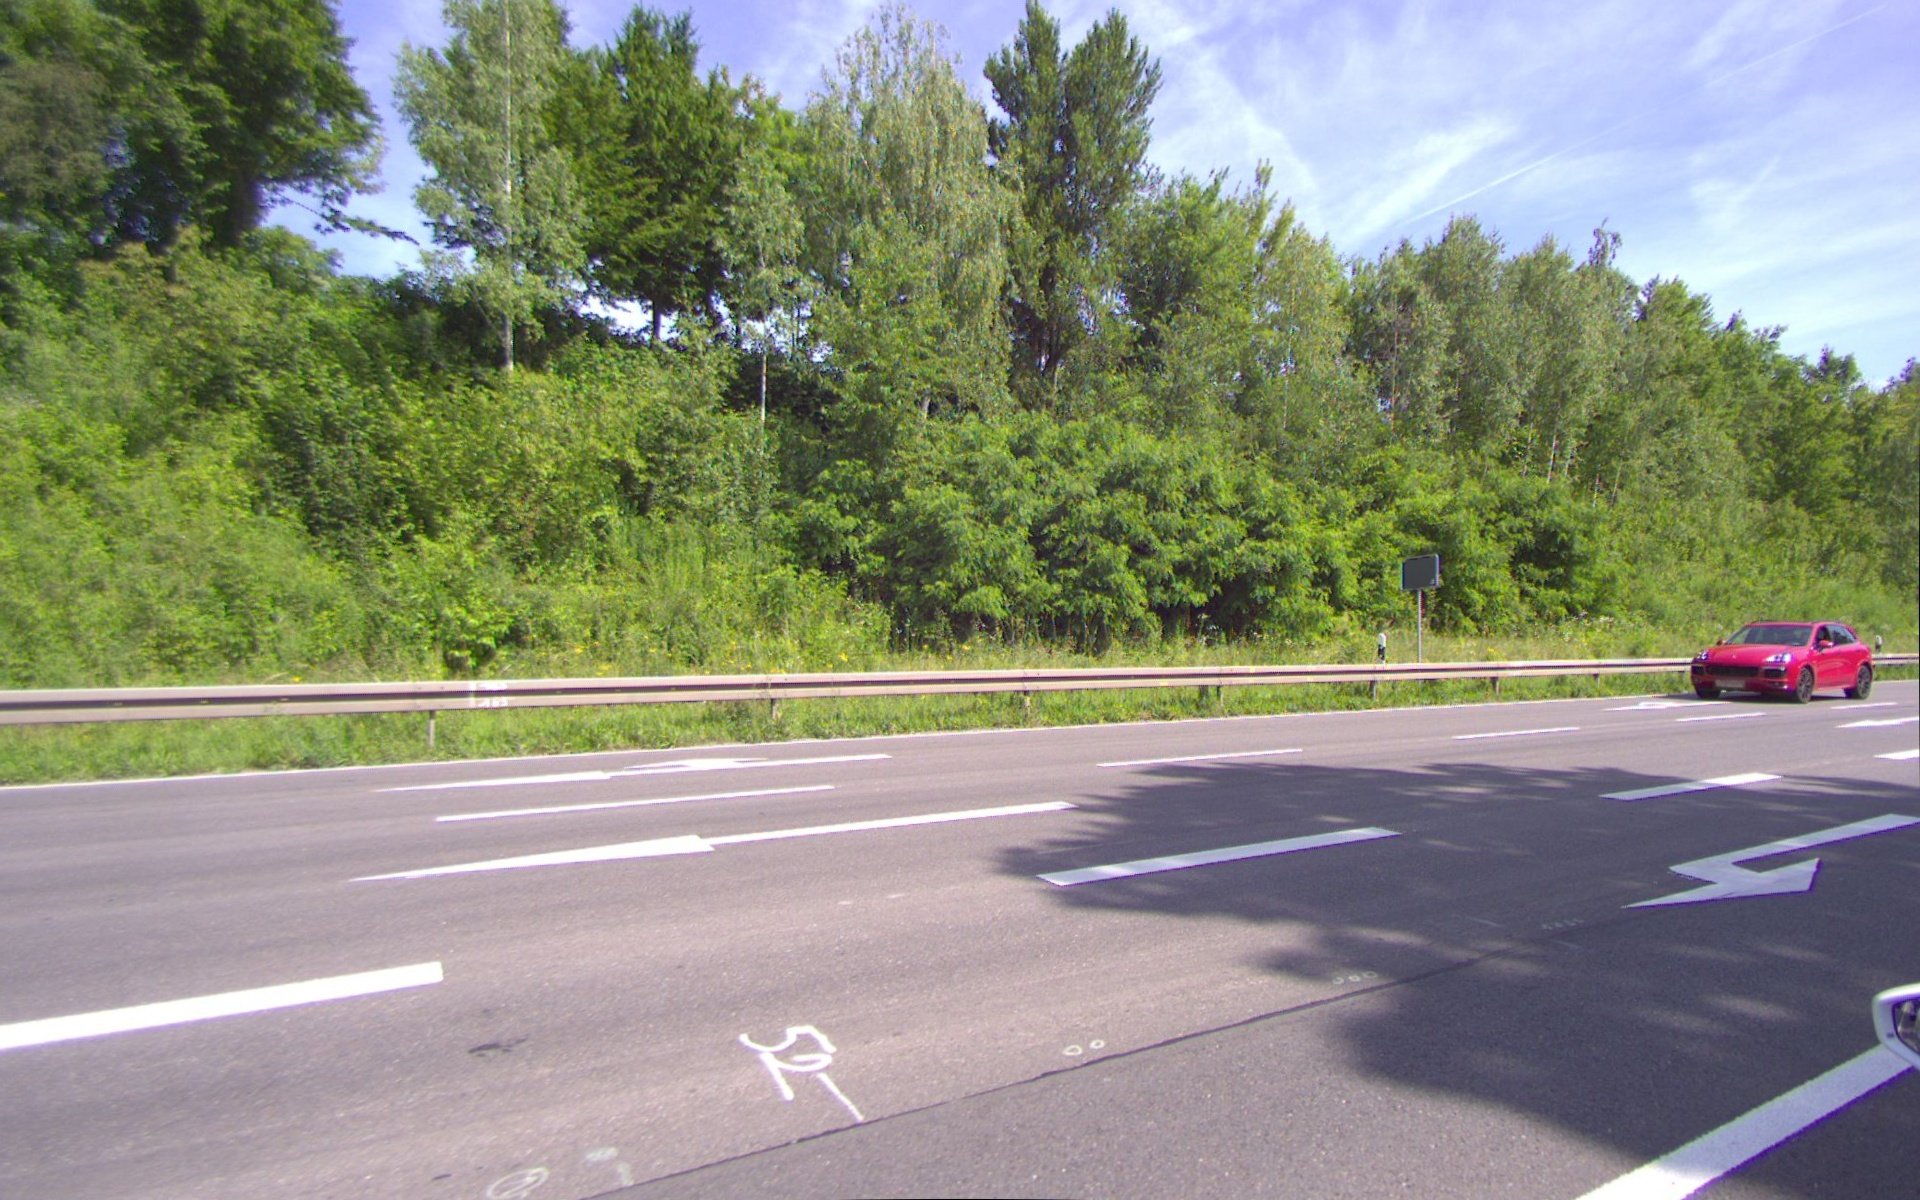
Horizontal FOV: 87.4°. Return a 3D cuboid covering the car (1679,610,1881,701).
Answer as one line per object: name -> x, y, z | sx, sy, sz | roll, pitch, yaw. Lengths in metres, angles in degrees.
car -> 18.237, 1.199, 22.299 | 4.752, 1.820, 1.964 | 2, -1, -30
